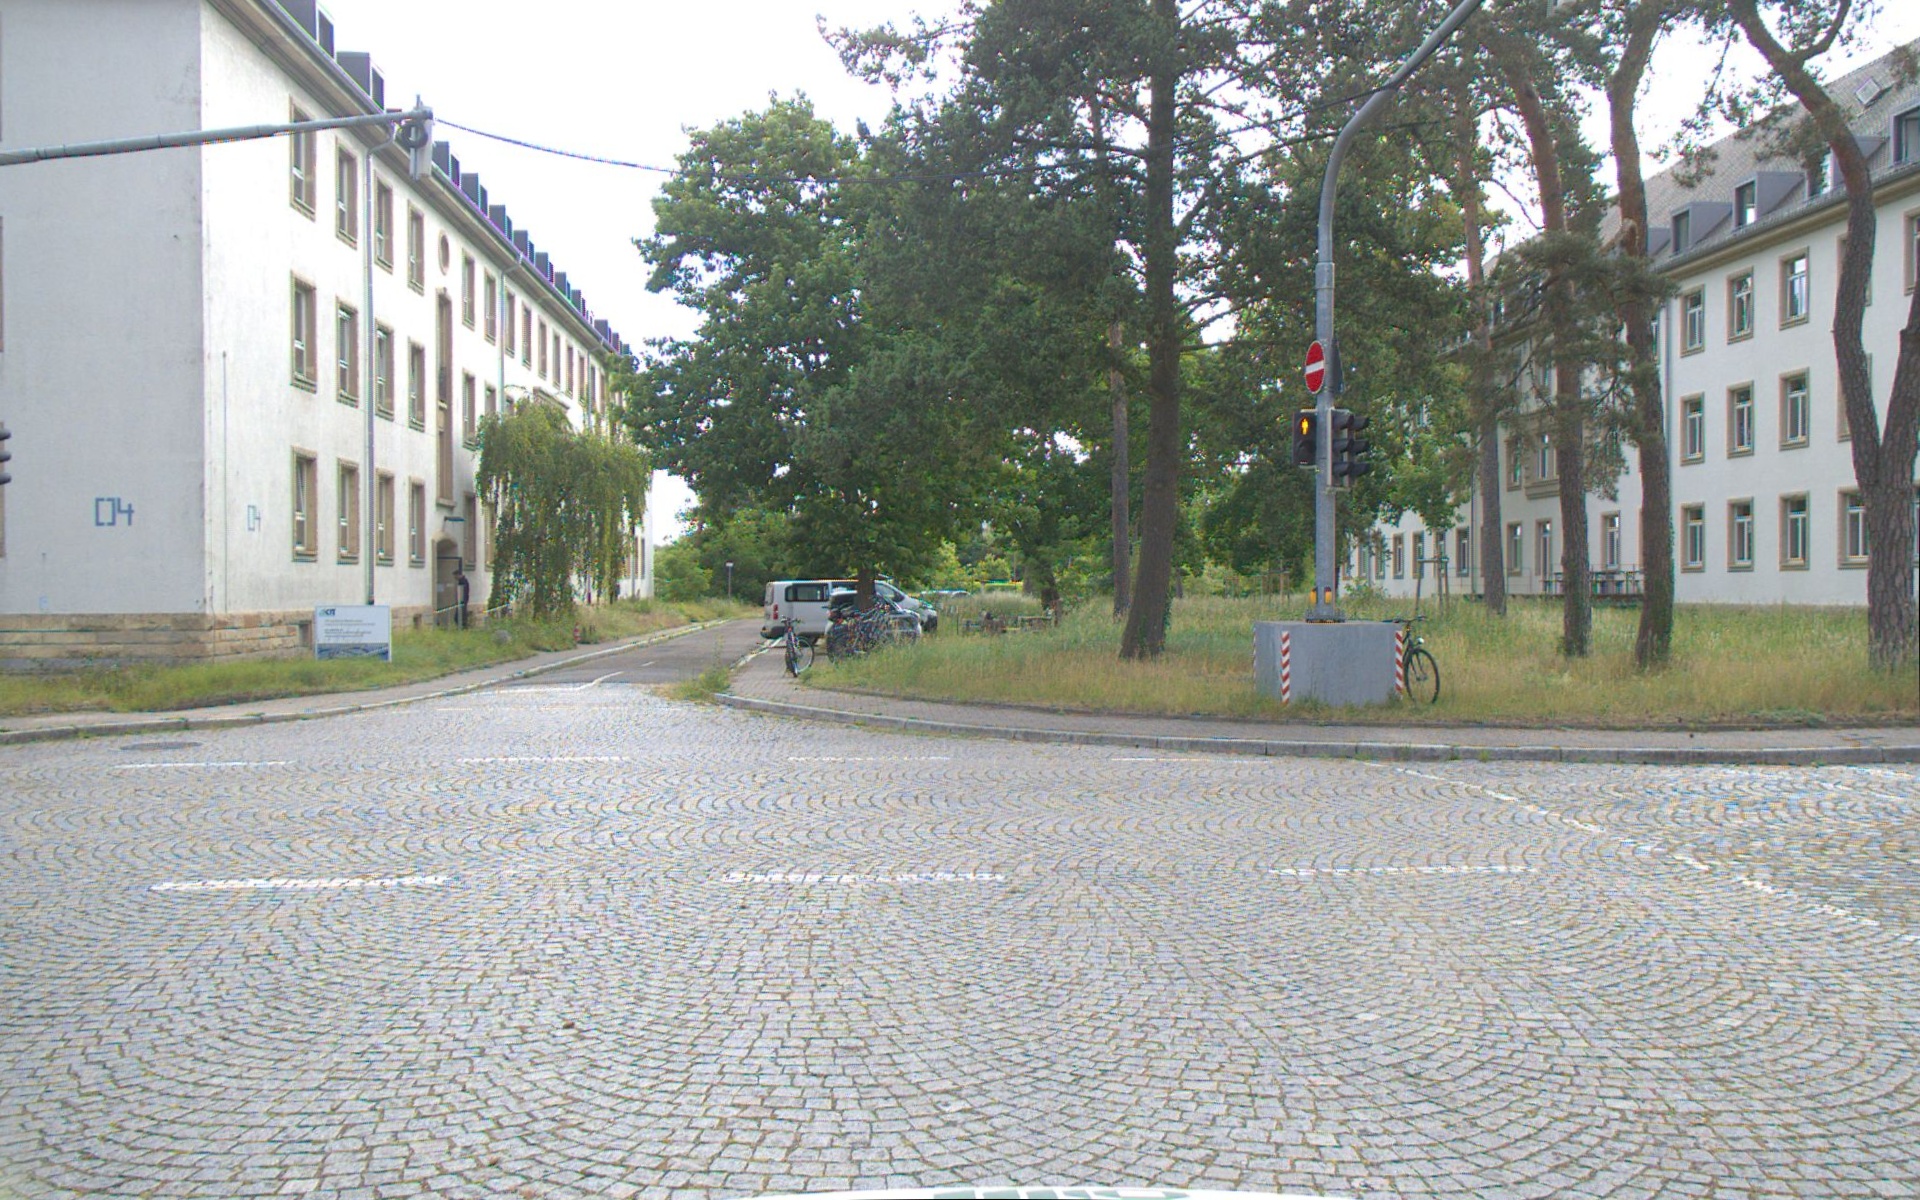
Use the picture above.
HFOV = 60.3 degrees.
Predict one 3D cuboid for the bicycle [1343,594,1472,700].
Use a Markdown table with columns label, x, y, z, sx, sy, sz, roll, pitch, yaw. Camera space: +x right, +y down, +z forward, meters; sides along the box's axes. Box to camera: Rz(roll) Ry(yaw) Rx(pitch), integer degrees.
| label | x | y | z | sx | sy | sz | roll | pitch | yaw |
| --- | --- | --- | --- | --- | --- | --- | --- | --- | --- |
| bicycle | 5.273 | 0.526 | 19.613 | 0.891 | 1.197 | 1.872 | 0 | 0 | -5 |

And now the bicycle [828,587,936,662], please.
| label | x | y | z | sx | sy | sz | roll | pitch | yaw |
| --- | --- | --- | --- | --- | --- | --- | --- | --- | --- |
| bicycle | -1.478 | 0.465 | 31.444 | 2.028 | 1.402 | 0.619 | 0 | 0 | -3 |

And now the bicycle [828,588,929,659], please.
| label | x | y | z | sx | sy | sz | roll | pitch | yaw |
| --- | --- | --- | --- | --- | --- | --- | --- | --- | --- |
| bicycle | -1.653 | 0.466 | 33.528 | 2.028 | 1.402 | 0.619 | 0 | 0 | -3 |

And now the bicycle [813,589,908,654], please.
| label | x | y | z | sx | sy | sz | roll | pitch | yaw |
| --- | --- | --- | --- | --- | --- | --- | --- | --- | --- |
| bicycle | -2.157 | 0.459 | 35.781 | 2.028 | 1.402 | 0.619 | 0 | 0 | -3 |

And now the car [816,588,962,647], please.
| label | x | y | z | sx | sy | sz | roll | pitch | yaw |
| --- | --- | --- | --- | --- | --- | --- | --- | --- | --- |
| car | -2.002 | 0.458 | 45.953 | 3.859 | 1.571 | 1.996 | 0 | 0 | -9 |

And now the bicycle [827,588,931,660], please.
| label | x | y | z | sx | sy | sz | roll | pitch | yaw |
| --- | --- | --- | --- | --- | --- | --- | --- | --- | --- |
| bicycle | -1.608 | 0.465 | 32.733 | 2.028 | 1.402 | 0.619 | 0 | 0 | -3 |

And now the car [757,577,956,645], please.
| label | x | y | z | sx | sy | sz | roll | pitch | yaw |
| --- | --- | --- | --- | --- | --- | --- | --- | --- | --- |
| car | -3.097 | 0.294 | 49.253 | 5.600 | 1.944 | 2.220 | 0 | 0 | -16 |

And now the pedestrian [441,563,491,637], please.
| label | x | y | z | sx | sy | sz | roll | pitch | yaw |
| --- | --- | --- | --- | --- | --- | --- | --- | --- | --- |
| pedestrian | -13.758 | 0.005 | 46.117 | 1.064 | 2.049 | 1.022 | 0 | 0 | 1 |

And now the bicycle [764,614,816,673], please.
| label | x | y | z | sx | sy | sz | roll | pitch | yaw |
| --- | --- | --- | --- | --- | --- | --- | --- | --- | --- |
| bicycle | -3.019 | 0.759 | 29.540 | 0.605 | 0.980 | 2.077 | 0 | 0 | 3 |

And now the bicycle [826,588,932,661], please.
| label | x | y | z | sx | sy | sz | roll | pitch | yaw |
| --- | --- | --- | --- | --- | --- | --- | --- | --- | --- |
| bicycle | -1.564 | 0.464 | 32.110 | 2.028 | 1.402 | 0.619 | 0 | 0 | -3 |

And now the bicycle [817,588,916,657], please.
| label | x | y | z | sx | sy | sz | roll | pitch | yaw |
| --- | --- | --- | --- | --- | --- | --- | --- | --- | --- |
| bicycle | -1.926 | 0.459 | 34.309 | 2.028 | 1.402 | 0.619 | 0 | 0 | -3 |

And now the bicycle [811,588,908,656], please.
| label | x | y | z | sx | sy | sz | roll | pitch | yaw |
| --- | --- | --- | --- | --- | --- | --- | --- | --- | --- |
| bicycle | -2.123 | 0.457 | 35.035 | 2.028 | 1.402 | 0.619 | 0 | 0 | -3 |
